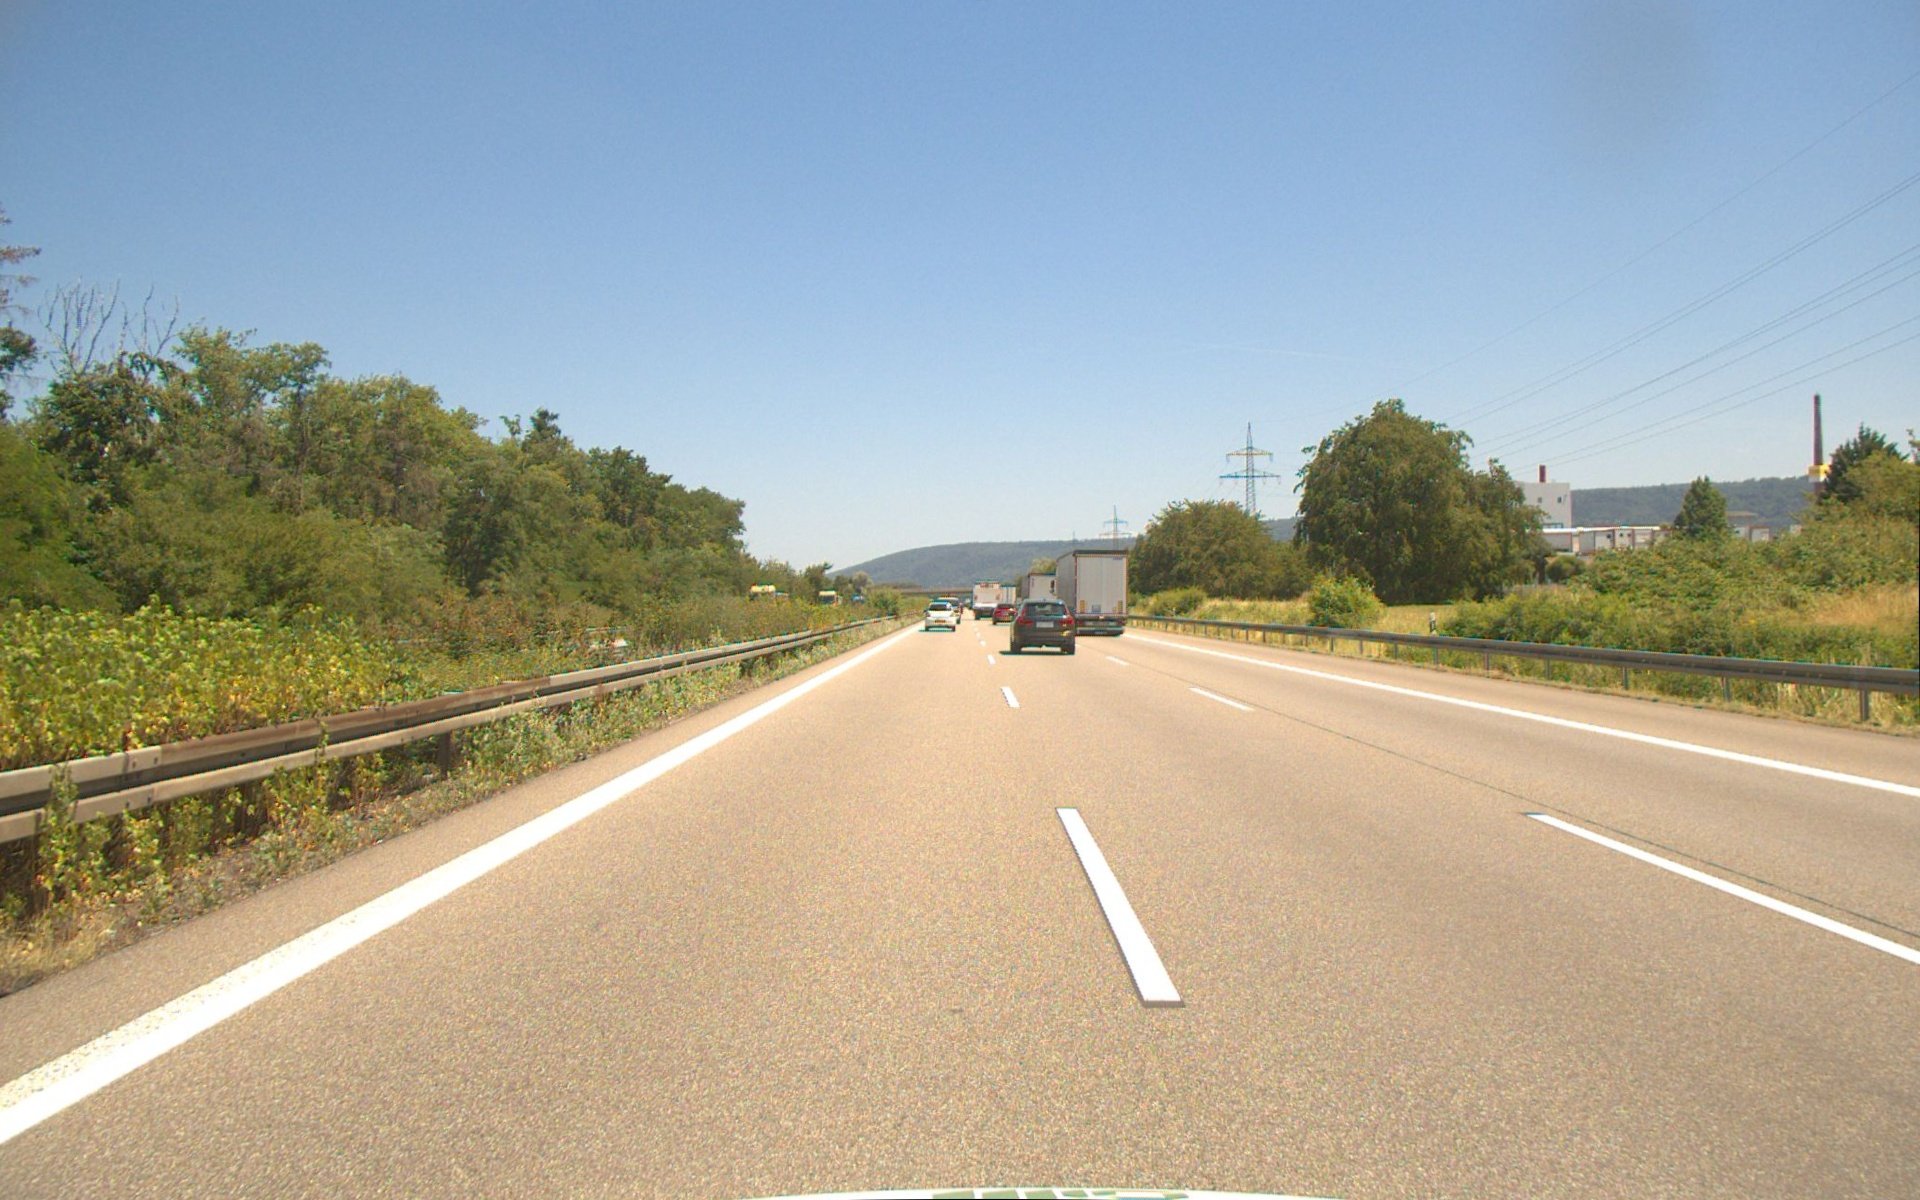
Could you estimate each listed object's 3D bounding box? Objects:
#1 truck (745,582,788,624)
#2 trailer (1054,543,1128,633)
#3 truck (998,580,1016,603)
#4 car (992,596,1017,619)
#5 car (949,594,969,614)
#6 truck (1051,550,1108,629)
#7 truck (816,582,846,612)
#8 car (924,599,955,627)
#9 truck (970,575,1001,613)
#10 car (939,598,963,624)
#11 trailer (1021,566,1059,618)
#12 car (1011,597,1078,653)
[{"bbox_3d":[-17.840,0.278,153.105,2.486,3.698,11.844,-3,0,0],"label":"truck"},{"bbox_3d":[6.475,-0.549,83.563,2.680,4.178,13.121,0,0,0],"label":"trailer"},{"bbox_3d":[6.627,-1.182,235.340,2.176,3.265,10.384,-1,0,0],"label":"truck"},{"bbox_3d":[3.166,0.543,118.261,1.766,1.572,4.000,0,0,0],"label":"car"},{"bbox_3d":[-0.141,0.404,169.532,1.953,2.049,3.999,-1,0,-1],"label":"car"},{"bbox_3d":[6.491,-0.543,90.462,2.680,4.192,6.124,0,0,0],"label":"truck"},{"bbox_3d":[-17.044,-0.384,219.427,2.840,3.770,11.898,-3,0,0],"label":"truck"},{"bbox_3d":[-1.108,0.688,89.442,1.574,1.493,3.999,-1,0,-1],"label":"car"},{"bbox_3d":[2.310,-0.482,153.872,2.725,3.432,8.127,0,0,0],"label":"truck"},{"bbox_3d":[-0.663,0.789,121.863,1.725,1.883,3.999,-1,0,-1],"label":"car"},{"bbox_3d":[7.017,-0.654,146.234,2.731,4.236,13.574,-2,0,1],"label":"trailer"},{"bbox_3d":[2.545,0.728,50.775,1.835,1.652,4.003,0,0,0],"label":"car"}]
